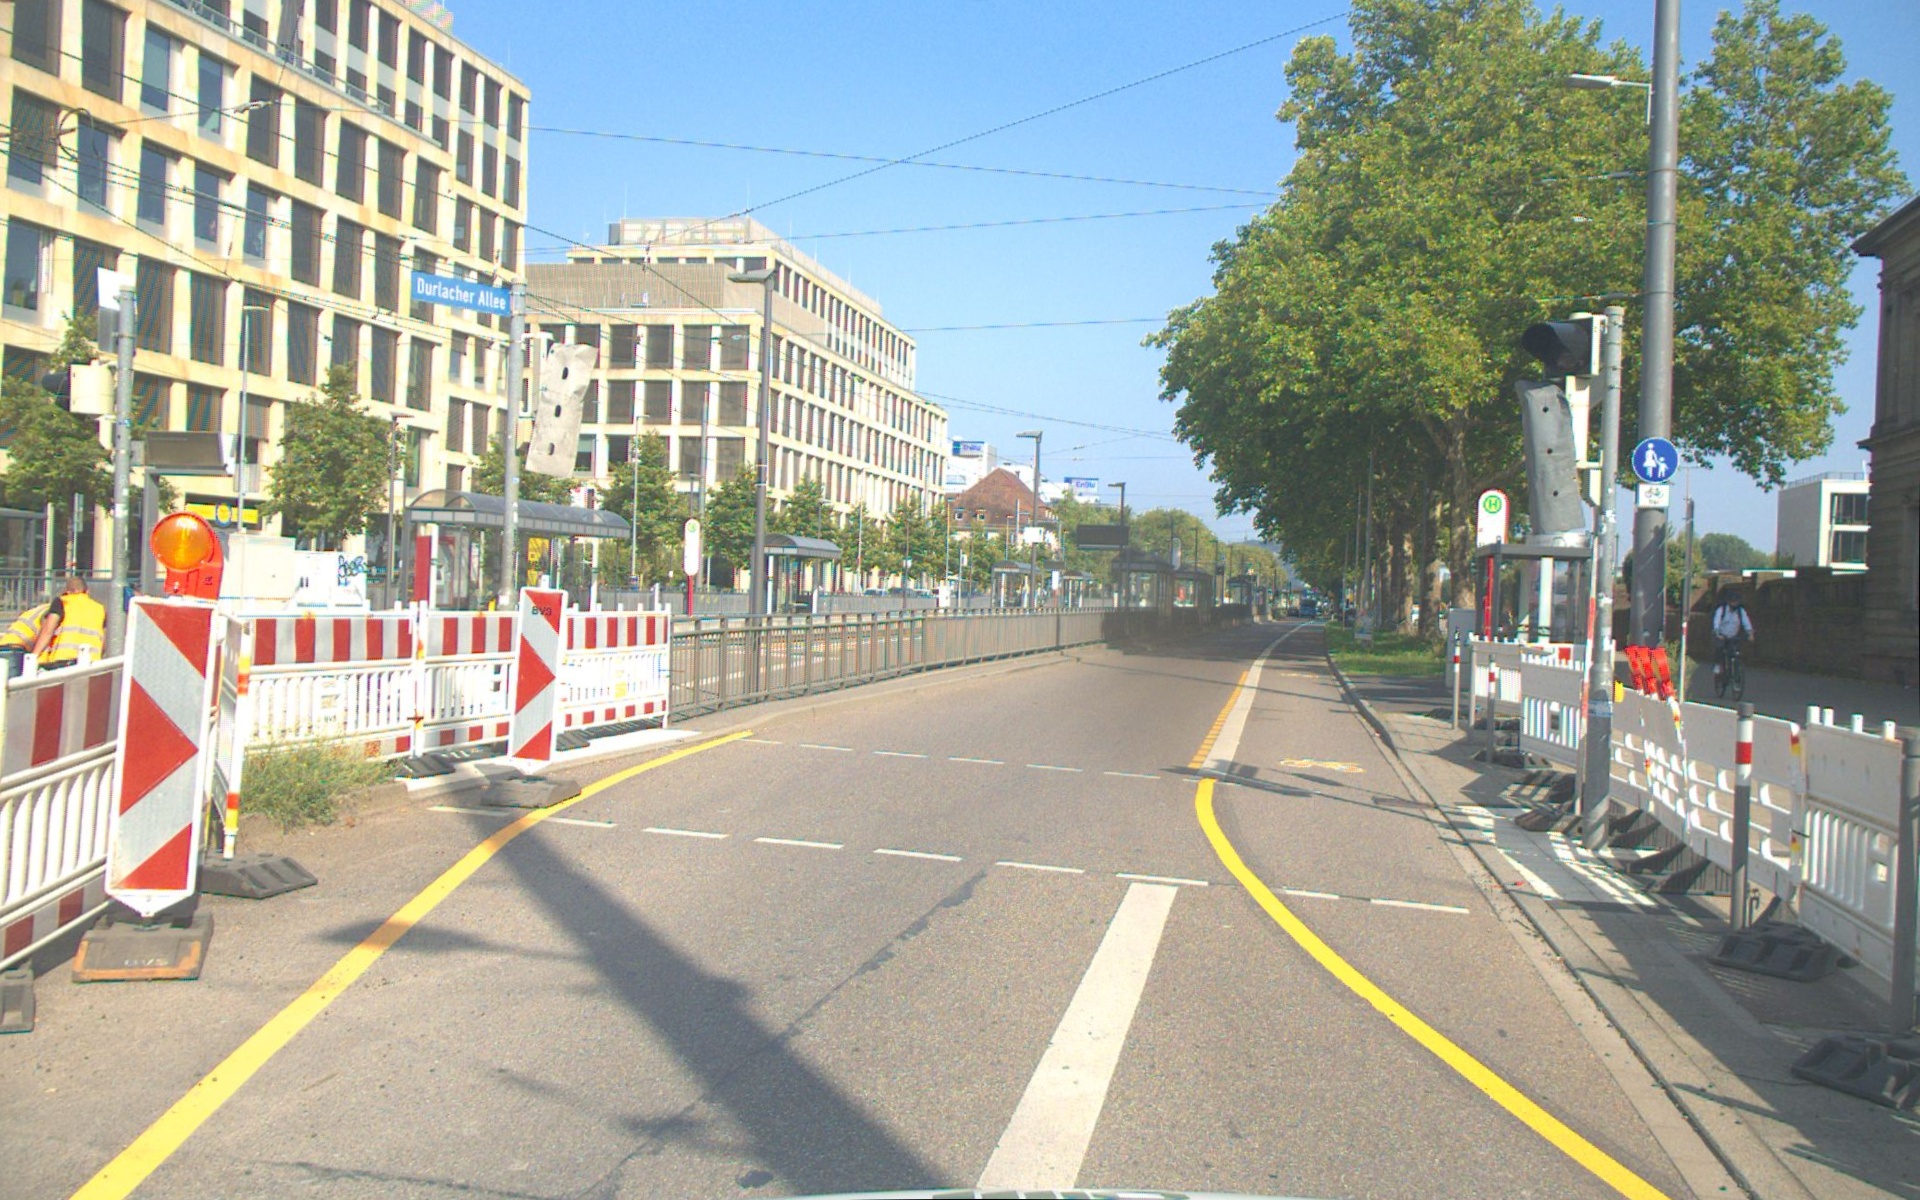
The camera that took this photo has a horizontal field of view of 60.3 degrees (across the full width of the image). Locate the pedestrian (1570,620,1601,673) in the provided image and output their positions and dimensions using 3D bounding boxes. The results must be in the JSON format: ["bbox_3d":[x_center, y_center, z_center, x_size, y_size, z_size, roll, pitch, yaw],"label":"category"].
[{"bbox_3d":[20.748,1.542,54.854,0.801,1.716,1.013,1,-1,13],"label":"pedestrian"}]

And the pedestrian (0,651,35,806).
[{"bbox_3d":[-8.155,1.030,13.404,0.966,1.211,0.795,2,0,37],"label":"pedestrian"}]

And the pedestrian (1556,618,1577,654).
[{"bbox_3d":[27.584,1.624,75.256,0.789,1.632,0.948,0,-1,13],"label":"pedestrian"}]

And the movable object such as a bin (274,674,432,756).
[{"bbox_3d":[-5.893,1.096,16.046,1.479,0.664,0.699,2,0,34],"label":"movable object such as a bin"}]

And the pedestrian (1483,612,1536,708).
[{"bbox_3d":[10.155,1.106,30.553,0.675,1.726,0.647,2,0,-9],"label":"pedestrian"}]

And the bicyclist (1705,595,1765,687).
[{"bbox_3d":[13.669,0.714,29.194,0.702,1.570,0.956,2,0,10],"label":"bicyclist"}]

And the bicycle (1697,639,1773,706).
[{"bbox_3d":[13.649,1.260,29.179,0.702,1.060,1.904,2,0,10],"label":"bicycle"}]

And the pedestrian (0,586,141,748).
[{"bbox_3d":[-7.930,0.560,14.528,1.290,1.329,0.795,2,0,37],"label":"pedestrian"}]

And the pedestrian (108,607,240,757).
[{"bbox_3d":[-7.355,0.744,15.489,0.824,1.329,0.795,2,0,37],"label":"pedestrian"}]

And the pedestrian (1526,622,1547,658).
[{"bbox_3d":[26.362,1.806,75.615,0.789,1.632,0.948,0,-1,13],"label":"pedestrian"}]
